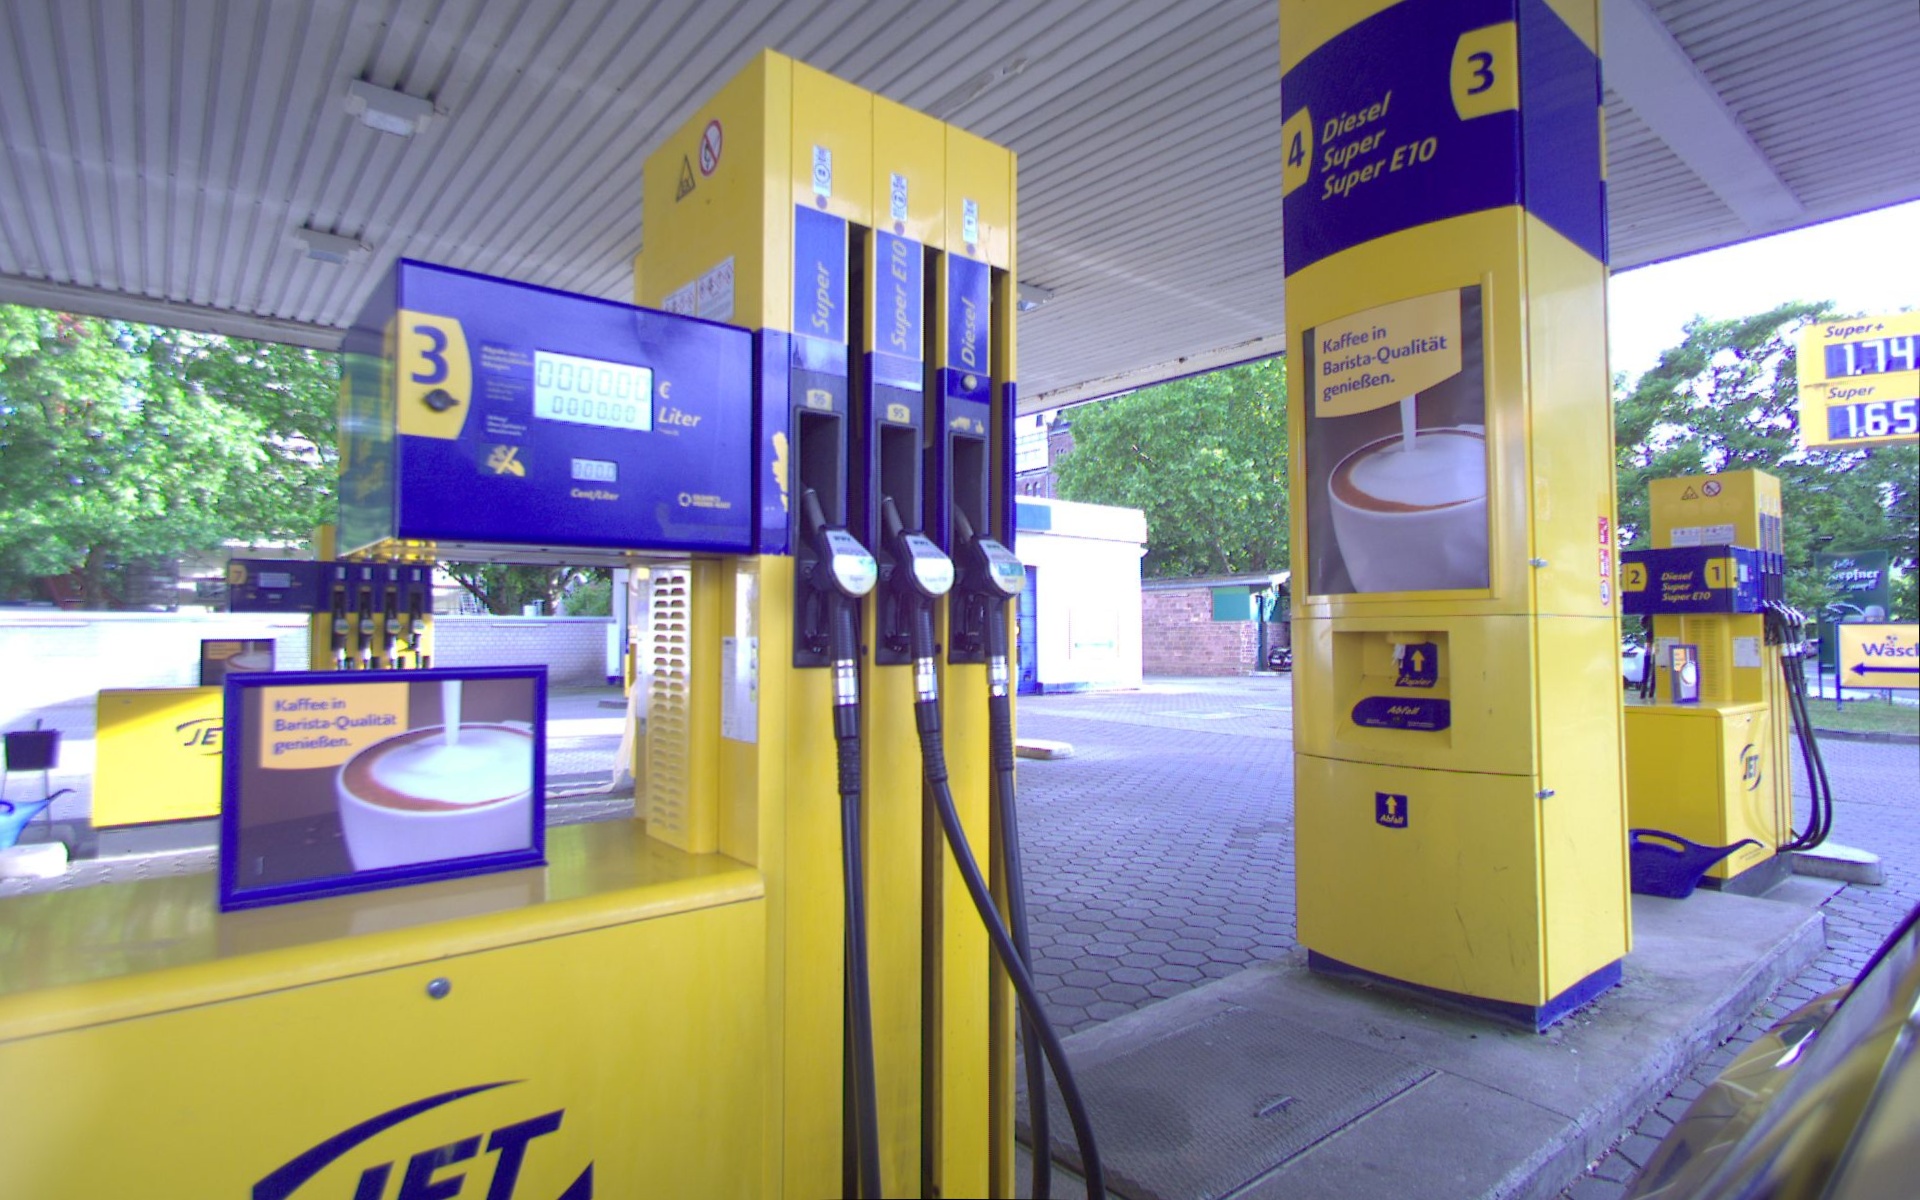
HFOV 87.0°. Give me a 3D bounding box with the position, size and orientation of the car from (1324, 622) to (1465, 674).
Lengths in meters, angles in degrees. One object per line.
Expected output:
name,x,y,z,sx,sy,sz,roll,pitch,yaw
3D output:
car,13.793,1.546,32.158,4.134,1.544,1.791,2,-3,-24

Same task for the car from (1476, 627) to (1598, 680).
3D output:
car,17.560,1.640,30.758,3.923,1.529,1.740,3,-3,-35

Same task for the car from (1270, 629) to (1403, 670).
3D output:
car,12.834,1.697,34.507,4.134,1.294,1.751,2,-3,-22

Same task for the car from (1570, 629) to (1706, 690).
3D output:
car,18.225,1.562,27.171,3.923,1.529,1.740,2,-3,-35
